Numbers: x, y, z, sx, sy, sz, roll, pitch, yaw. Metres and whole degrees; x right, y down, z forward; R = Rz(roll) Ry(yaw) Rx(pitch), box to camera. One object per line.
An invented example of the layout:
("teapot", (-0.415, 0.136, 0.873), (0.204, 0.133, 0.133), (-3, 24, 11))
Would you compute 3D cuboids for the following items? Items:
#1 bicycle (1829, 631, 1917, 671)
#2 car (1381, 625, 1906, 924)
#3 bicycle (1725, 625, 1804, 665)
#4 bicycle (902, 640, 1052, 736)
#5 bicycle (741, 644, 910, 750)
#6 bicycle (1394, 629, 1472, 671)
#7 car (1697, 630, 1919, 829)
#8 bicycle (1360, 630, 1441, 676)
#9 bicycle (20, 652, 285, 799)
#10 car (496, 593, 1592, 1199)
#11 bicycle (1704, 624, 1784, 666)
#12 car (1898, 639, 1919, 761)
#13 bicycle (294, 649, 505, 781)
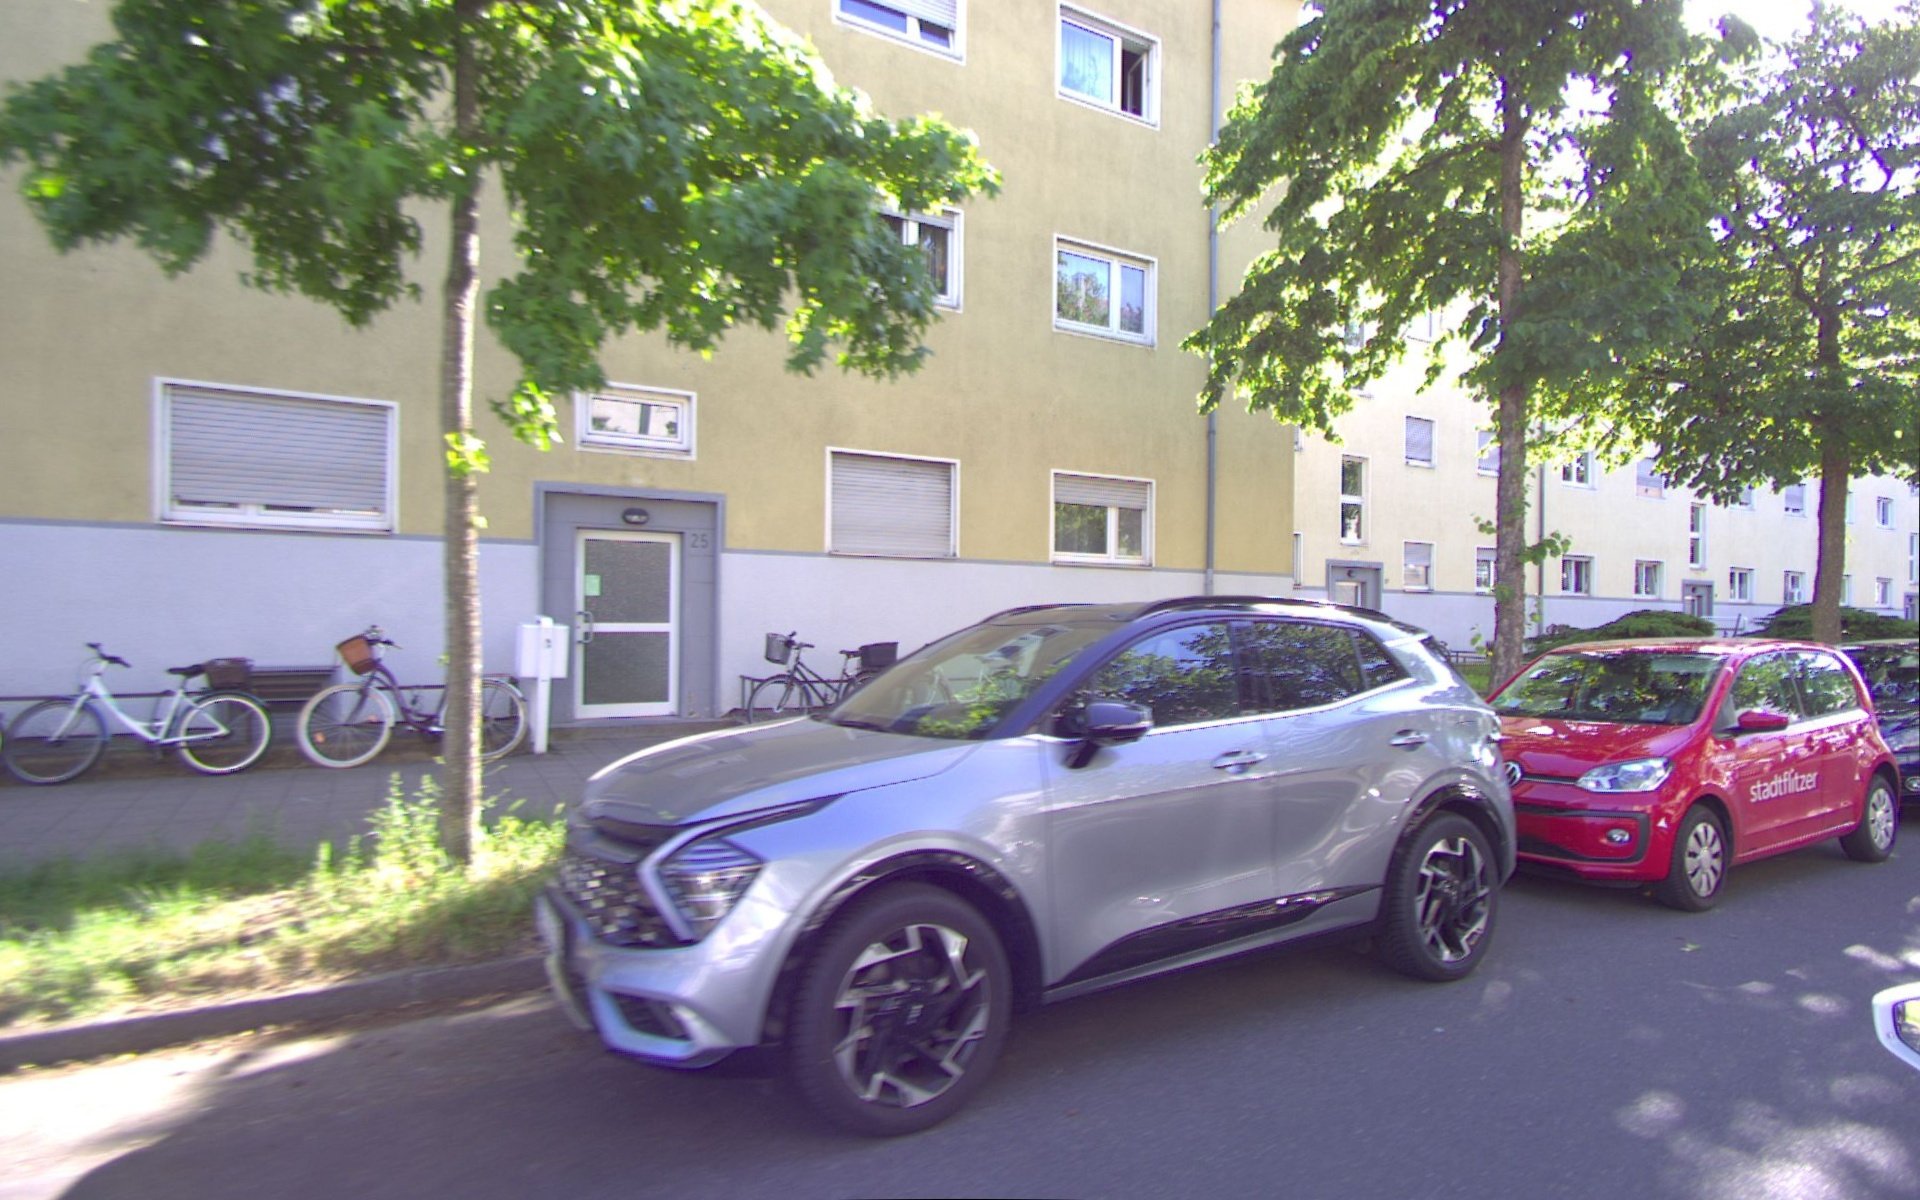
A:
("bicycle", (26.441, 1.465, 29.129), (0.481, 1.095, 1.829), (1, -1, -32))
("car", (4.549, 0.927, 6.658), (3.217, 1.505, 1.657), (1, -1, -30))
("bicycle", (25.135, 1.394, 31.418), (0.481, 1.095, 1.828), (5, -1, -33))
("bicycle", (0.213, 1.002, 11.765), (1.726, 1.040, 0.533), (1, -1, -29))
("bicycle", (-1.433, 1.009, 10.794), (1.726, 1.040, 0.538), (1, -1, -29))
("bicycle", (10.997, 1.143, 23.381), (0.477, 0.943, 1.620), (1, -1, -37))
("car", (8.666, 1.033, 9.214), (3.885, 1.478, 1.657), (1, -1, -30))
("bicycle", (9.547, 1.138, 21.820), (0.476, 0.943, 1.623), (1, -1, -32))
("bicycle", (-6.192, 0.928, 7.806), (1.526, 1.014, 0.509), (1, -1, -30))
("car", (0.648, 0.815, 4.356), (4.682, 1.585, 1.682), (1, -1, -32))
("bicycle", (23.724, 1.348, 30.429), (0.480, 1.161, 1.833), (2, 1, -26))
("car", (13.292, 1.157, 12.029), (4.618, 1.387, 1.737), (1, -2, -30))
("bicycle", (-4.740, 0.944, 8.583), (1.524, 1.014, 0.513), (1, -1, -27))
